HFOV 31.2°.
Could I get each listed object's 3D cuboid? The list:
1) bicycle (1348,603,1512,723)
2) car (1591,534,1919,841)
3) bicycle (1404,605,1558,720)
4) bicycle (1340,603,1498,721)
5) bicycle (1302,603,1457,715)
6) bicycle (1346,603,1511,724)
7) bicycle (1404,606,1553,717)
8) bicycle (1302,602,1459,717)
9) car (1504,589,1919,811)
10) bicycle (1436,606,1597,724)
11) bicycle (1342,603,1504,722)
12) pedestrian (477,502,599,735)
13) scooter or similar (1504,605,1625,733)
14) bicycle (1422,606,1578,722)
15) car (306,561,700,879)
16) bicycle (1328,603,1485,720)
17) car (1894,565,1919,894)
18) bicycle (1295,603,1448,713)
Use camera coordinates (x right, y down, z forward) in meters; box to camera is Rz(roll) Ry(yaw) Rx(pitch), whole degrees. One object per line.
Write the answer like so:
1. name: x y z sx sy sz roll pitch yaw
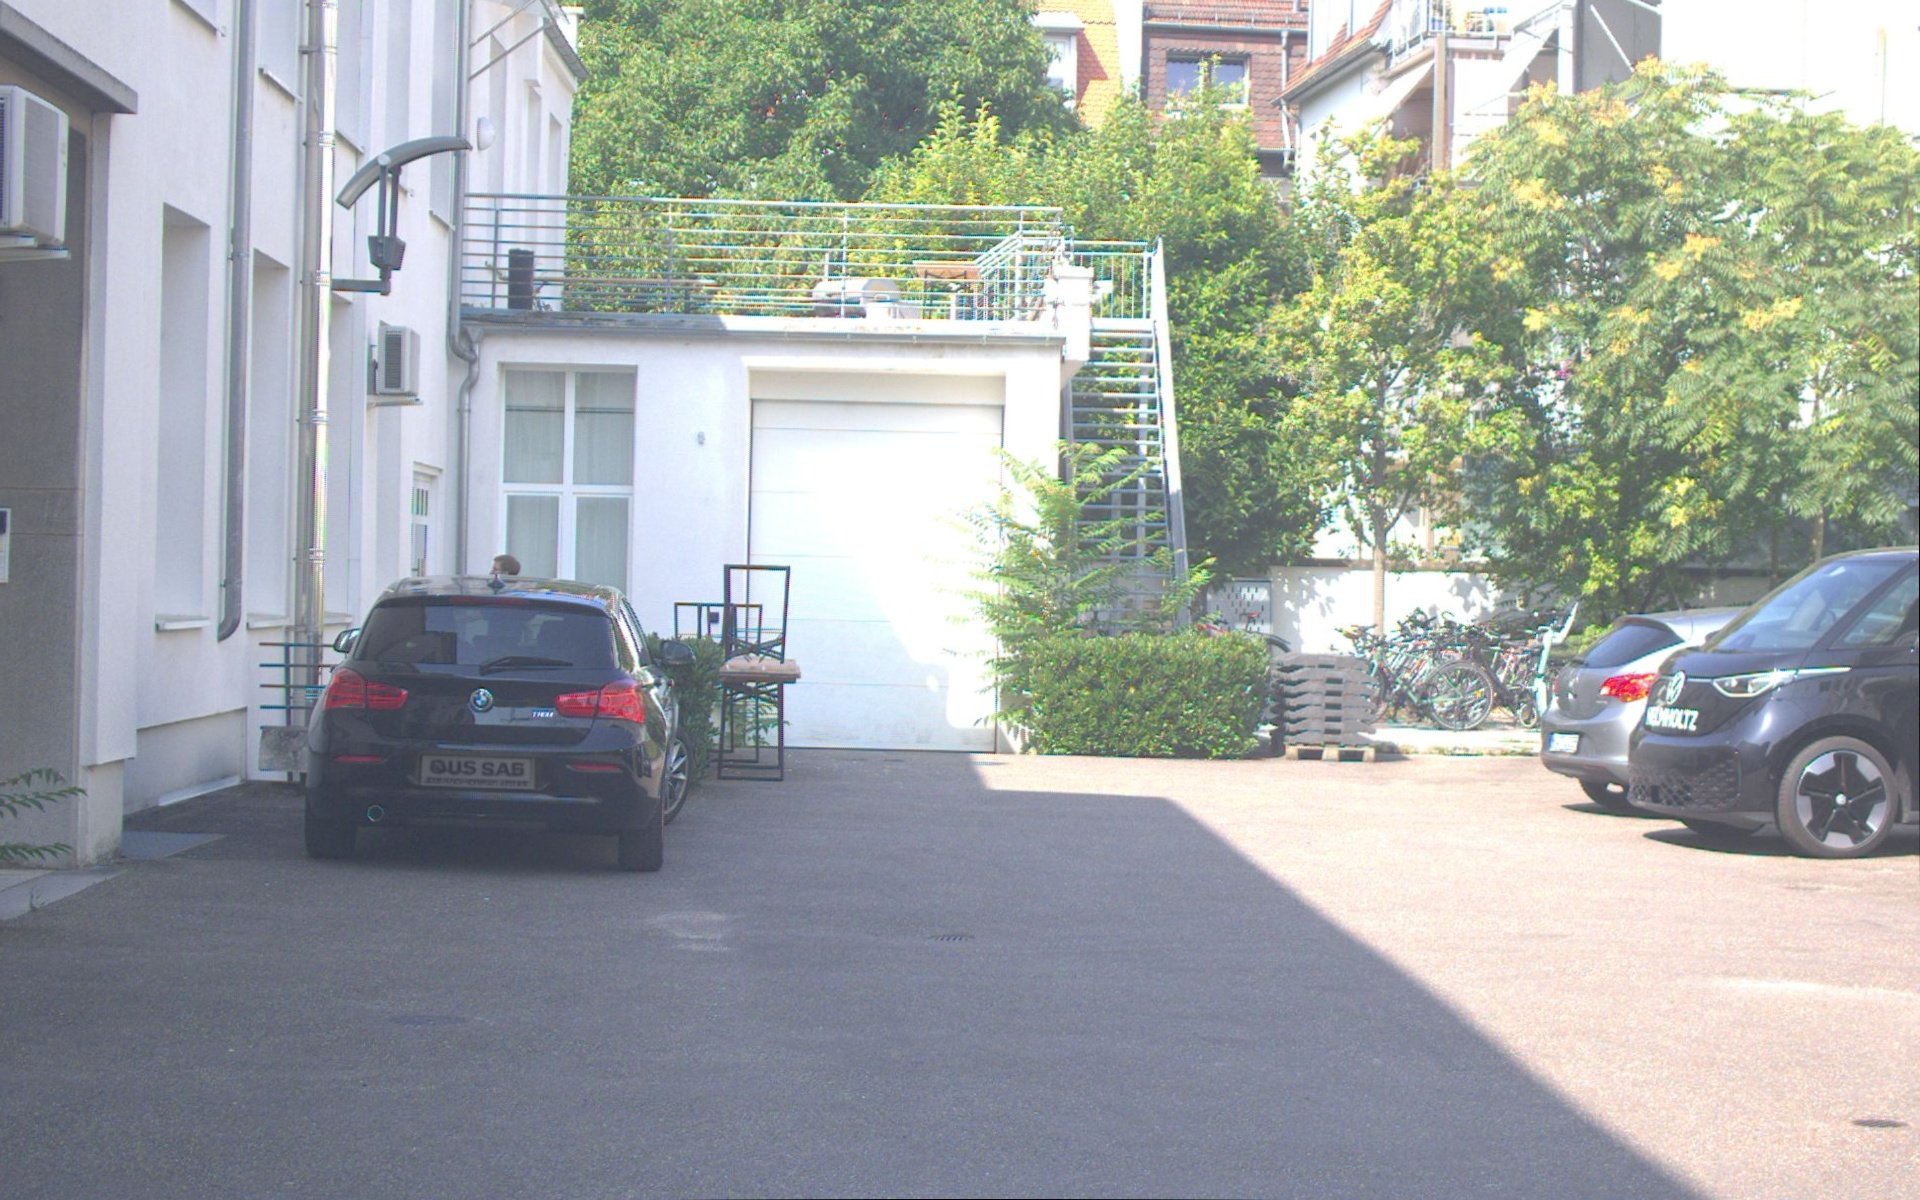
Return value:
1. bicycle: 4.817 0.642 35.276 1.623 1.210 0.327 0 0 1
2. car: 6.414 0.547 21.394 4.499 1.788 1.883 1 -1 -10
3. bicycle: 5.668 0.673 37.367 1.624 1.210 0.424 1 0 12
4. bicycle: 4.810 0.644 36.021 1.623 1.210 0.327 1 0 9
5. bicycle: 4.597 0.642 37.695 1.623 1.210 0.424 0 0 -6
6. bicycle: 4.757 0.640 34.954 1.623 1.210 0.327 0 0 1
7. bicycle: 5.791 0.679 38.394 1.624 1.210 0.424 1 0 12
8. bicycle: 4.524 0.638 37.059 1.623 1.210 0.424 0 0 -1
9. car: 6.023 0.702 24.275 3.931 1.477 1.775 1 -1 -10
10. bicycle: 5.815 0.673 35.931 1.624 1.210 0.327 1 0 14
11. bicycle: 4.782 0.642 35.570 1.623 1.210 0.327 0 0 1
12. pedestrian: -3.731 0.160 30.472 0.913 2.007 0.935 2 0 -1
13. scooter or similar: 6.093 0.685 34.723 0.378 1.256 1.349 0 0 -33
14. bicycle: 5.780 0.675 36.791 1.624 1.210 0.424 1 0 12
15. car: -2.300 0.569 18.158 1.688 1.454 3.923 2 0 -3
16. bicycle: 4.725 0.642 36.384 1.624 1.210 0.327 1 0 12
17. car: 7.008 0.721 17.196 4.116 1.686 1.771 2 0 -4
18. bicycle: 4.580 0.643 38.297 1.623 1.210 0.424 0 0 -5
